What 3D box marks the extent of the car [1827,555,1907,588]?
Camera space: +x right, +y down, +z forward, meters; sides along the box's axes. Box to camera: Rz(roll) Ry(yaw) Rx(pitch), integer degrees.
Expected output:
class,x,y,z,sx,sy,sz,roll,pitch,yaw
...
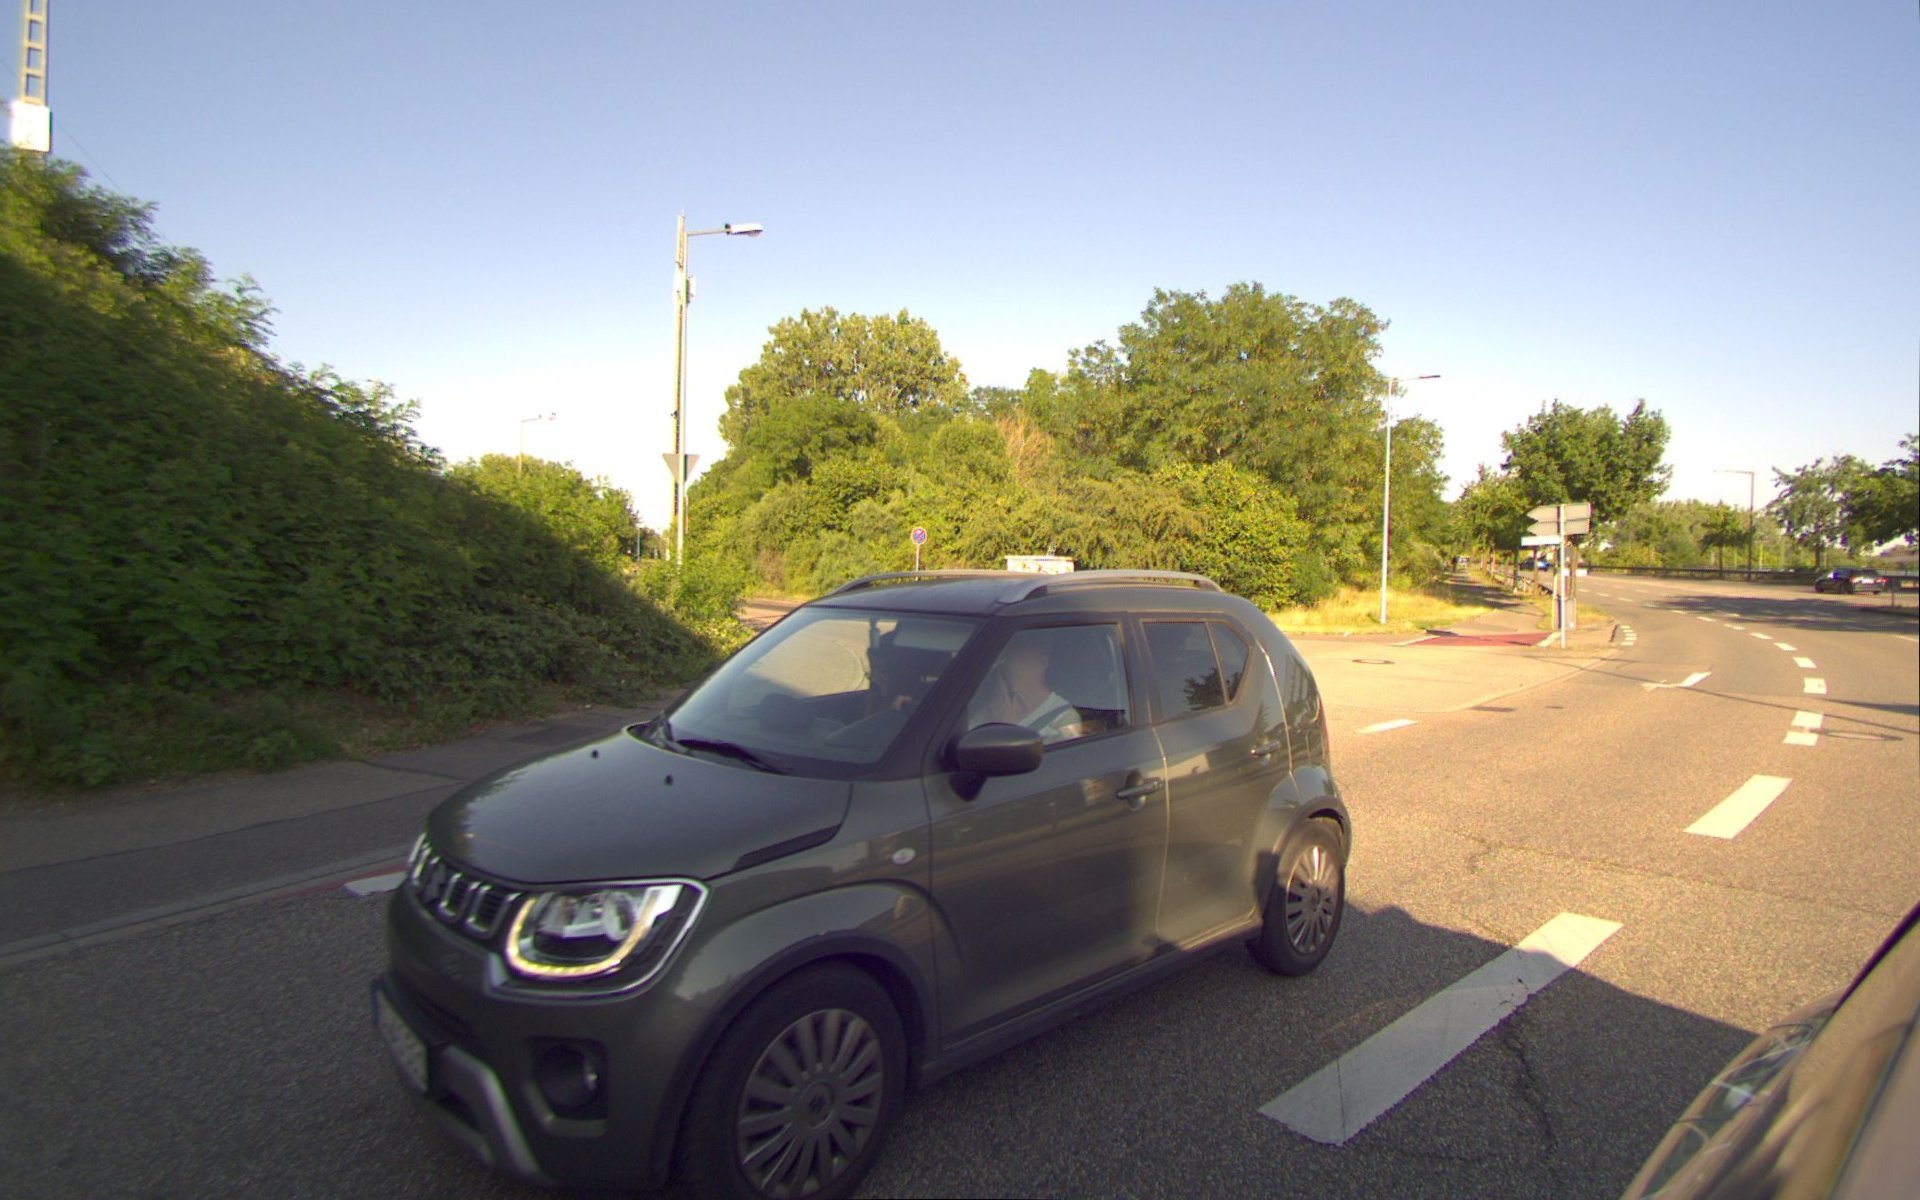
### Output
class,x,y,z,sx,sy,sz,roll,pitch,yaw
car,51.607,-1.582,57.685,1.974,1.794,3.976,0,0,19

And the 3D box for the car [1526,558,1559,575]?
class,x,y,z,sx,sy,sz,roll,pitch,yaw
car,65.151,-3.769,113.215,1.969,1.794,3.987,0,0,11

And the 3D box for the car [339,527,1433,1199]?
class,x,y,z,sx,sy,sz,roll,pitch,yaw
car,0.101,0.666,3.880,3.994,1.651,1.739,-1,0,-43

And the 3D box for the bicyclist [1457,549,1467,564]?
class,x,y,z,sx,sy,sz,roll,pitch,yaw
bicyclist,49.407,-4.272,99.623,0.836,1.439,1.103,0,0,28

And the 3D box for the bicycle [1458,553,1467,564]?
class,x,y,z,sx,sy,sz,roll,pitch,yaw
bicycle,49.434,-4.070,99.622,0.775,1.070,2.473,0,0,27
